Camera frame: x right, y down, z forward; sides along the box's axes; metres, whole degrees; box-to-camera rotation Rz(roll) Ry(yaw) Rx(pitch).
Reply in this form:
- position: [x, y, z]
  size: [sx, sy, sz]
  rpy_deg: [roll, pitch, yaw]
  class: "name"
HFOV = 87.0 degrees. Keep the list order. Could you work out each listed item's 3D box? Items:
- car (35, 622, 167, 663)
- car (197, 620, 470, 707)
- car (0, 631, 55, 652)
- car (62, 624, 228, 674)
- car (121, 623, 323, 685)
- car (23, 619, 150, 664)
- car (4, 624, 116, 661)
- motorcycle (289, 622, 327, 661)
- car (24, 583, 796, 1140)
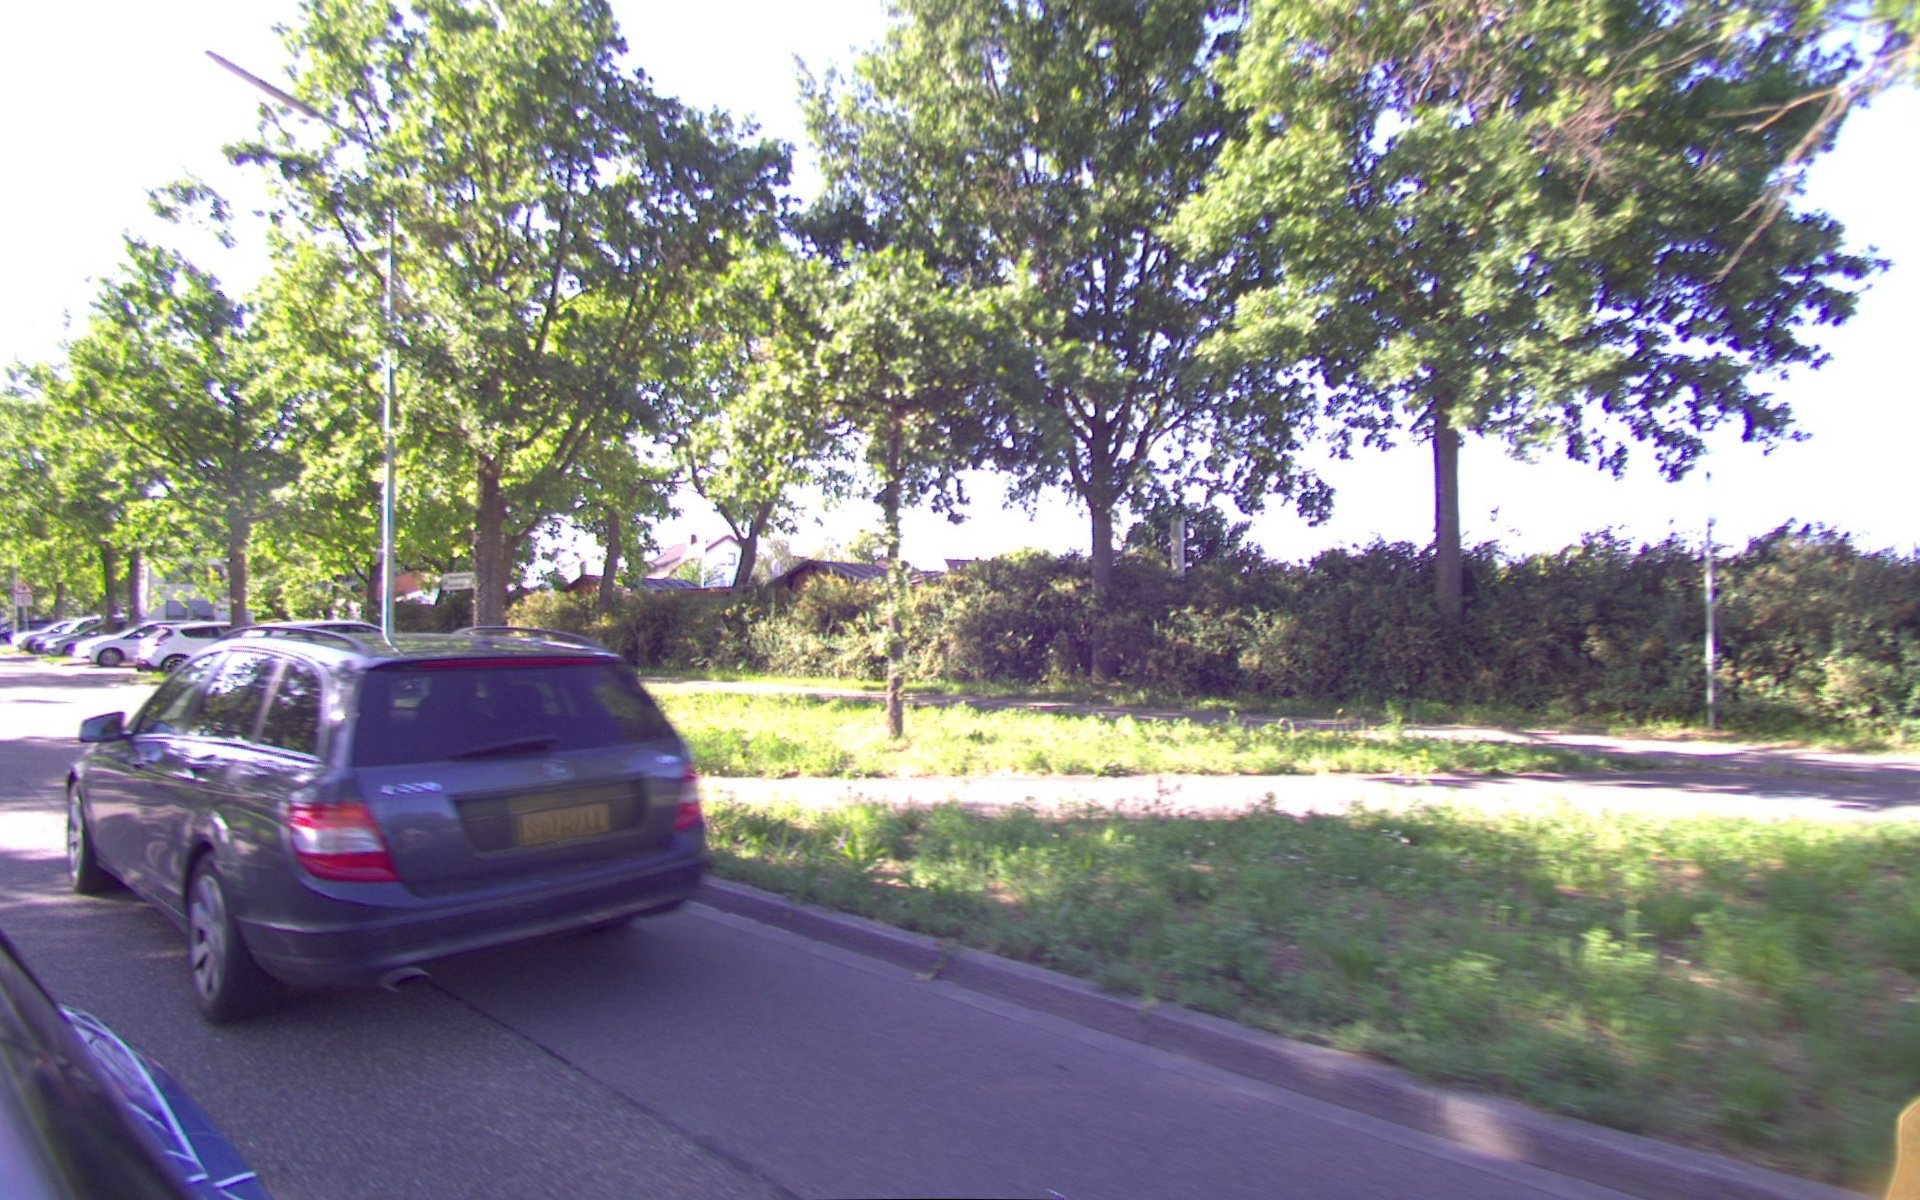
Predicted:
- position: [-36.429, 1.762, 42.967]
  size: [1.866, 1.568, 4.090]
  rpy_deg: [-2, -1, 43]
  class: "car"
- position: [-13.451, 1.286, 21.981]
  size: [2.188, 1.570, 4.582]
  rpy_deg: [-2, -1, 38]
  class: "car"
- position: [-68.490, 3.029, 73.587]
  size: [3.977, 1.490, 1.944]
  rpy_deg: [2, -3, -42]
  class: "car"
- position: [-28.986, 1.692, 36.075]
  size: [2.088, 1.568, 4.364]
  rpy_deg: [-2, -1, 43]
  class: "car"
- position: [-21.262, 1.503, 29.290]
  size: [2.087, 1.522, 4.366]
  rpy_deg: [-2, -1, 41]
  class: "car"
- position: [-40.126, 1.857, 46.553]
  size: [1.998, 1.898, 4.183]
  rpy_deg: [-2, -1, 42]
  class: "car"
- position: [-44.337, 2.079, 49.919]
  size: [1.876, 1.655, 4.017]
  rpy_deg: [-2, -1, 44]
  class: "car"
- position: [-25.527, 1.605, 39.618]
  size: [1.991, 1.443, 0.729]
  rpy_deg: [-2, 1, 43]
  class: "motorcycle"
- position: [-2.965, 0.822, 4.950]
  size: [4.491, 1.540, 1.747]
  rpy_deg: [-2, -4, 40]
  class: "car"
